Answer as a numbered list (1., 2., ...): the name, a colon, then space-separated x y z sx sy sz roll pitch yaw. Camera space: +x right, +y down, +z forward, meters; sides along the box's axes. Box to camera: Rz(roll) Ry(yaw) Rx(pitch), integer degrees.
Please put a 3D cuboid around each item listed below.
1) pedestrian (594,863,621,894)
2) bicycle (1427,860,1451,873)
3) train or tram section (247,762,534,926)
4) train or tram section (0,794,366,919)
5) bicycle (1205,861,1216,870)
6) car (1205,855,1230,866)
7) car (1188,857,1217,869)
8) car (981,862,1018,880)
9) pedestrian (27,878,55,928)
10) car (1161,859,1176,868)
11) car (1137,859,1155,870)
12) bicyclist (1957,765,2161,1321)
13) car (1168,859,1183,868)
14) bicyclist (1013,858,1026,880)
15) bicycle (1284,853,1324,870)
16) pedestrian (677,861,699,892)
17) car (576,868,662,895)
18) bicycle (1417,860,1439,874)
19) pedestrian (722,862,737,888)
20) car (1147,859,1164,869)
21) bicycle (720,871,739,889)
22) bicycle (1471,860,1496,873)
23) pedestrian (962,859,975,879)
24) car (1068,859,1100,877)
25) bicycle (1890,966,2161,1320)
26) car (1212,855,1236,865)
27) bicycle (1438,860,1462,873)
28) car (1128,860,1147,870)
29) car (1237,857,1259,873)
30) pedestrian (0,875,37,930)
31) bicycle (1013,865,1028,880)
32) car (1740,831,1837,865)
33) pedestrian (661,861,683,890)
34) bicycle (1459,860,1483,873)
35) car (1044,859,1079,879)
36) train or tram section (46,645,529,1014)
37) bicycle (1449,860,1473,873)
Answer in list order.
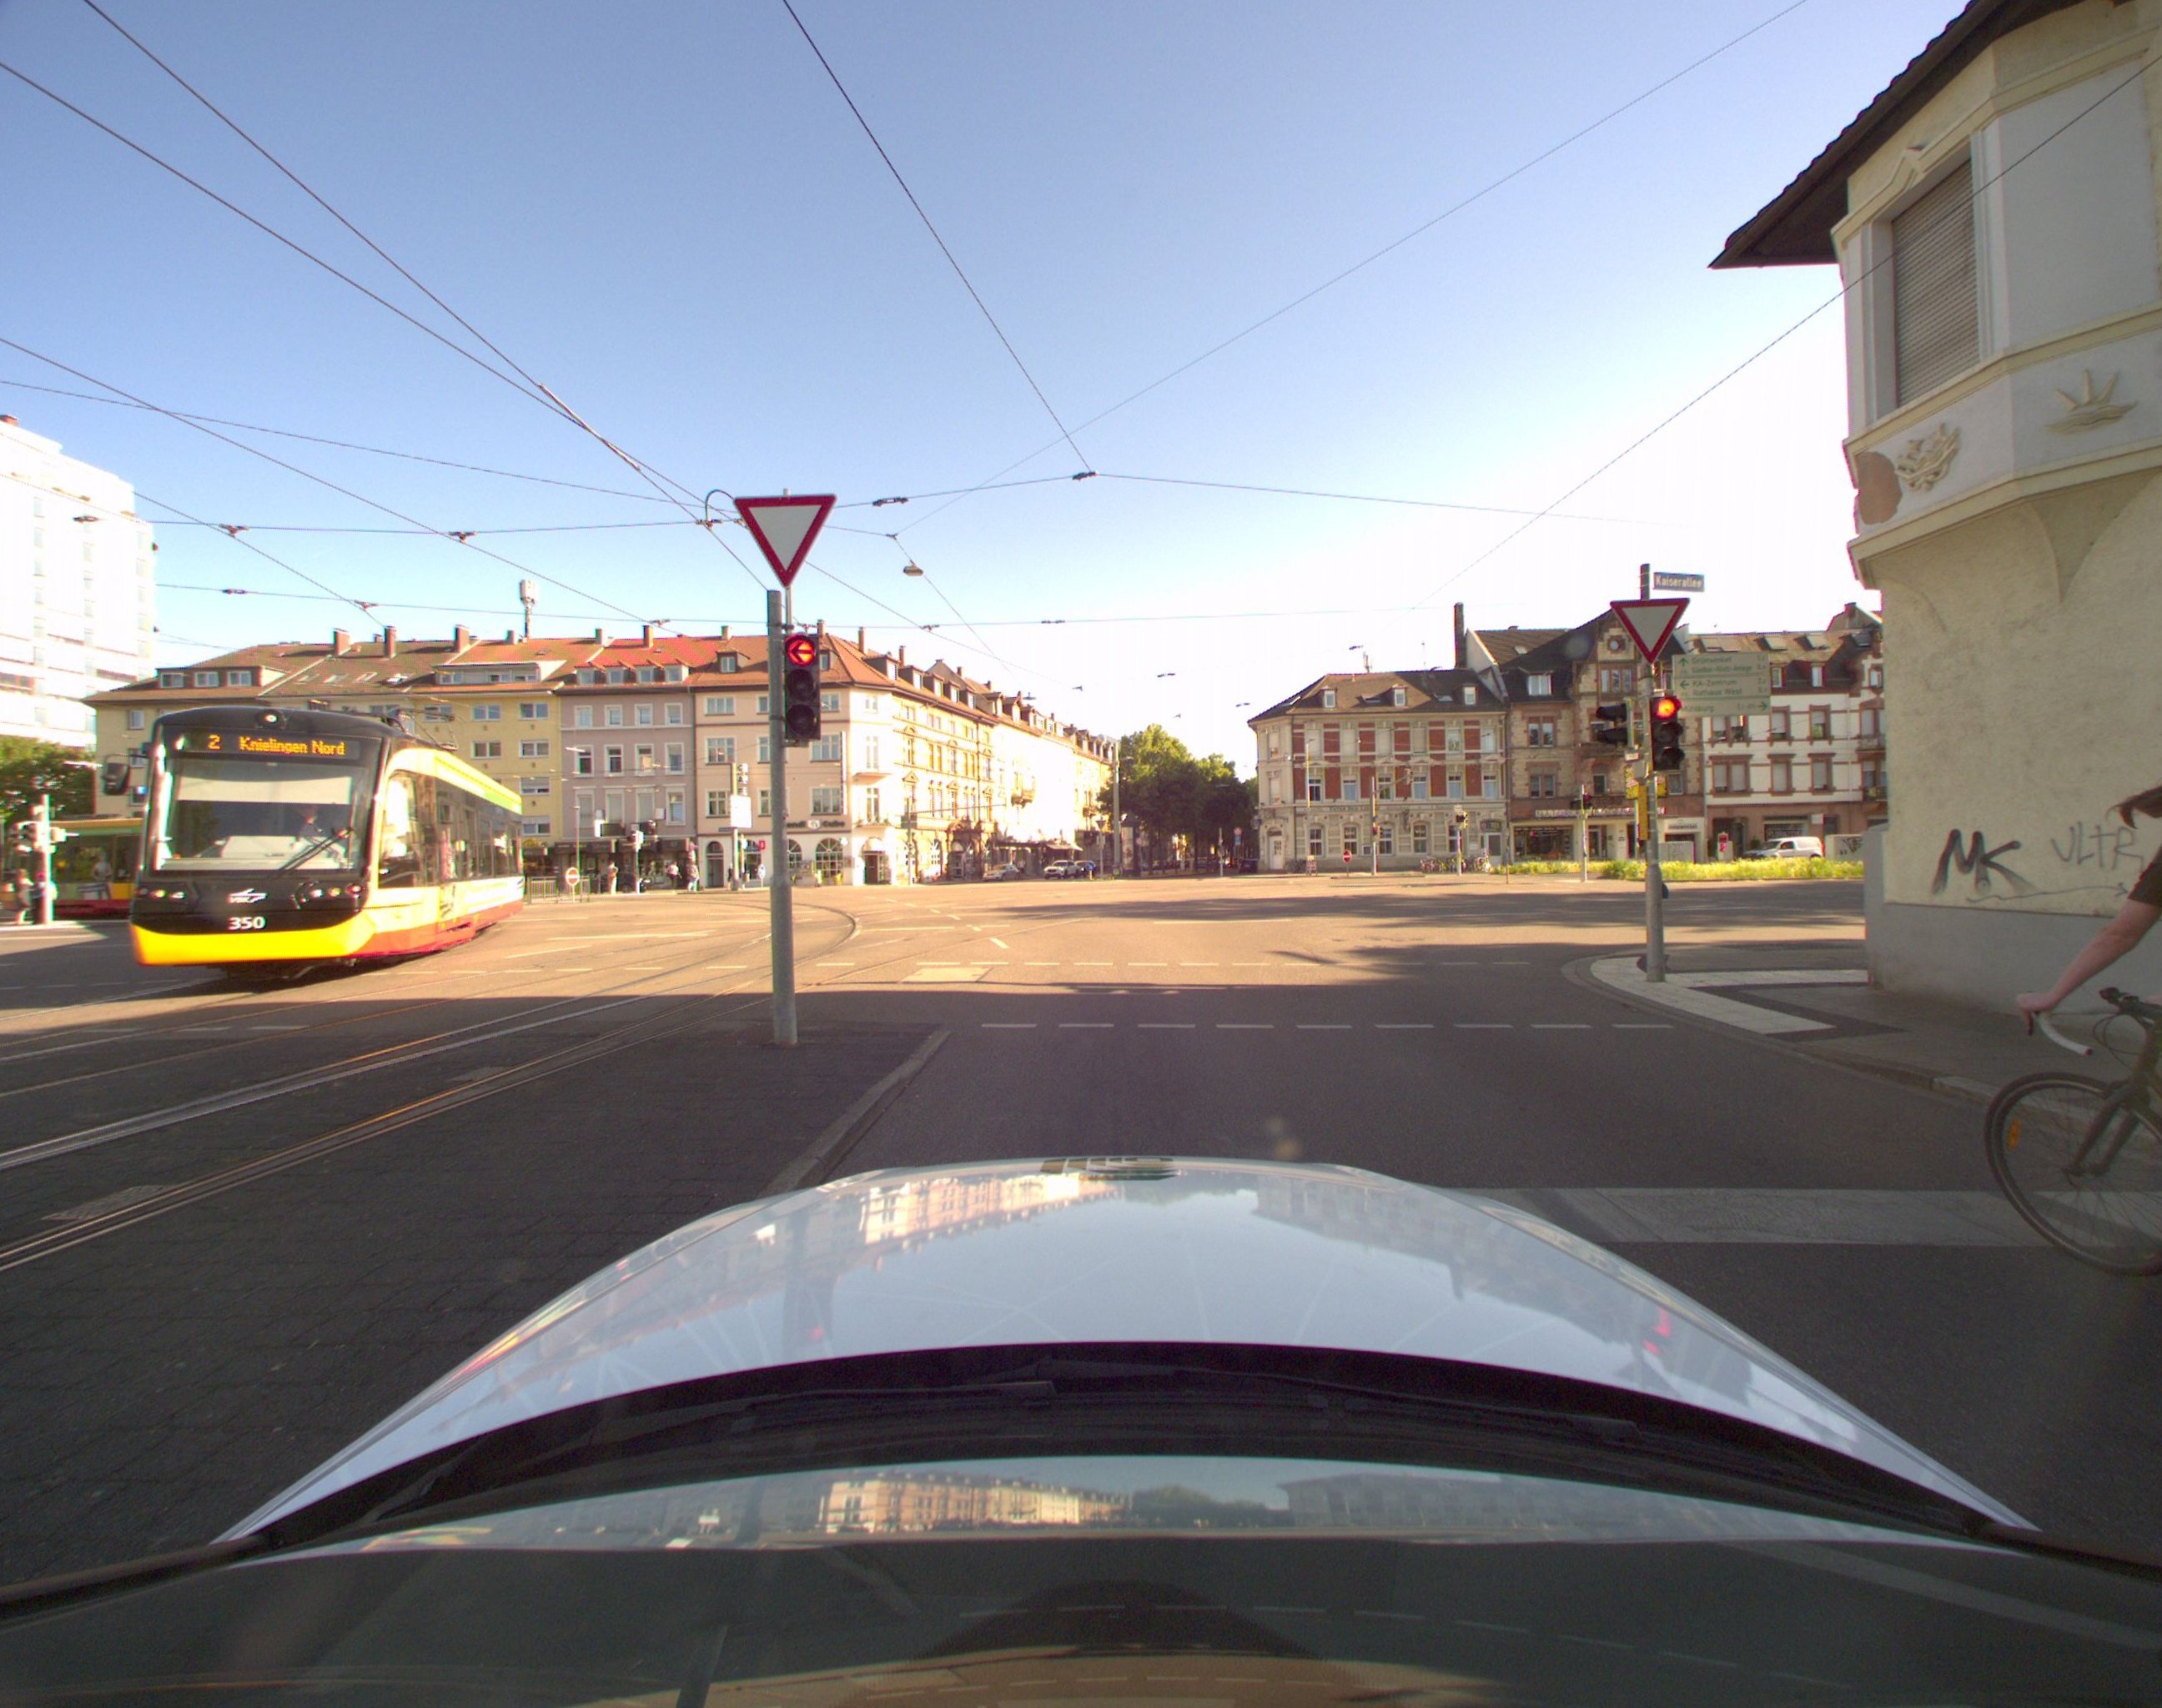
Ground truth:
1. pedestrian: -24.749 1.287 42.581 0.842 1.577 0.836 -1 -1 11
2. bicycle: 23.165 0.819 52.741 0.656 0.840 2.162 0 -1 3
3. train or tram section: -20.469 -0.109 23.670 12.654 3.814 2.960 -1 0 34
4. train or tram section: -31.114 0.160 27.964 12.005 3.814 2.950 -1 0 10
5. bicycle: 15.779 1.393 99.266 0.636 1.021 1.839 0 -1 -12
6. car: 21.461 1.061 127.707 3.549 1.648 1.691 -2 0 19
7. car: 17.215 1.259 115.441 3.870 1.648 1.691 -2 0 19
8. car: -6.703 1.424 67.215 1.664 1.354 3.608 -2 0 19
9. pedestrian: -31.913 1.496 24.982 0.456 1.505 0.485 -1 1 38
10. car: 14.046 1.504 130.595 1.664 1.354 3.608 -2 0 19
11. car: 9.184 1.494 115.434 1.664 1.354 3.608 -2 0 19
12. bicyclist: 3.575 0.574 2.488 0.570 1.701 1.117 -1 0 2
13. car: 15.733 1.523 135.588 1.664 1.354 3.608 -2 0 19
14. bicyclist: -4.935 1.209 65.403 0.772 1.803 1.060 -1 -1 16
15. bicycle: 15.608 0.500 57.046 2.547 1.174 0.818 0 -1 -1
16. pedestrian: -20.041 1.135 41.531 0.545 1.577 0.838 -1 -1 29
17. car: -30.361 1.788 53.628 4.347 1.711 2.308 0 -1 4
18. bicycle: 22.430 0.824 52.682 0.656 0.840 2.162 0 -1 3
19. pedestrian: -22.898 1.391 53.062 0.580 1.670 0.753 0 -1 2
20. car: 11.255 1.529 122.350 1.664 1.354 3.608 -2 0 19
21. bicycle: -22.896 1.681 53.037 0.570 1.077 1.497 0 -1 2
22. bicycle: 26.013 0.798 52.702 0.656 0.840 2.162 0 -1 3
23. pedestrian: -9.525 1.297 68.810 0.770 1.670 0.834 -1 -1 17
24. car: 0.314 1.241 73.758 1.664 1.483 3.967 -2 0 19
25. bicycle: 3.599 0.955 2.496 0.516 0.970 1.750 -1 0 2
26. car: 23.368 0.968 133.140 3.549 1.648 1.691 -2 0 19
27. bicycle: 23.889 0.814 52.726 0.656 0.840 2.162 0 -1 3
28. car: 7.709 1.491 111.310 1.664 1.354 3.608 -2 0 19
29. car: 16.912 1.097 82.321 1.664 1.483 3.967 -2 0 19
30. pedestrian: -32.918 1.497 25.231 0.456 1.644 0.643 -1 1 38
31. bicycle: -4.888 1.484 65.523 0.696 1.118 1.642 -1 -1 16
32. car: 45.447 -0.382 52.385 4.406 2.013 2.002 -1 0 4
33. pedestrian: -22.378 1.177 44.566 0.720 1.577 0.836 -1 -1 11
34. bicycle: 25.209 0.804 52.688 0.656 0.840 2.162 0 -1 3
35. car: -1.599 1.214 67.498 1.664 1.483 3.789 -2 0 19
36. train or tram section: -12.522 -0.202 14.794 2.950 3.814 12.930 -1 0 -29
37. bicycle: 24.572 0.809 52.733 0.656 0.840 2.162 0 -1 3
